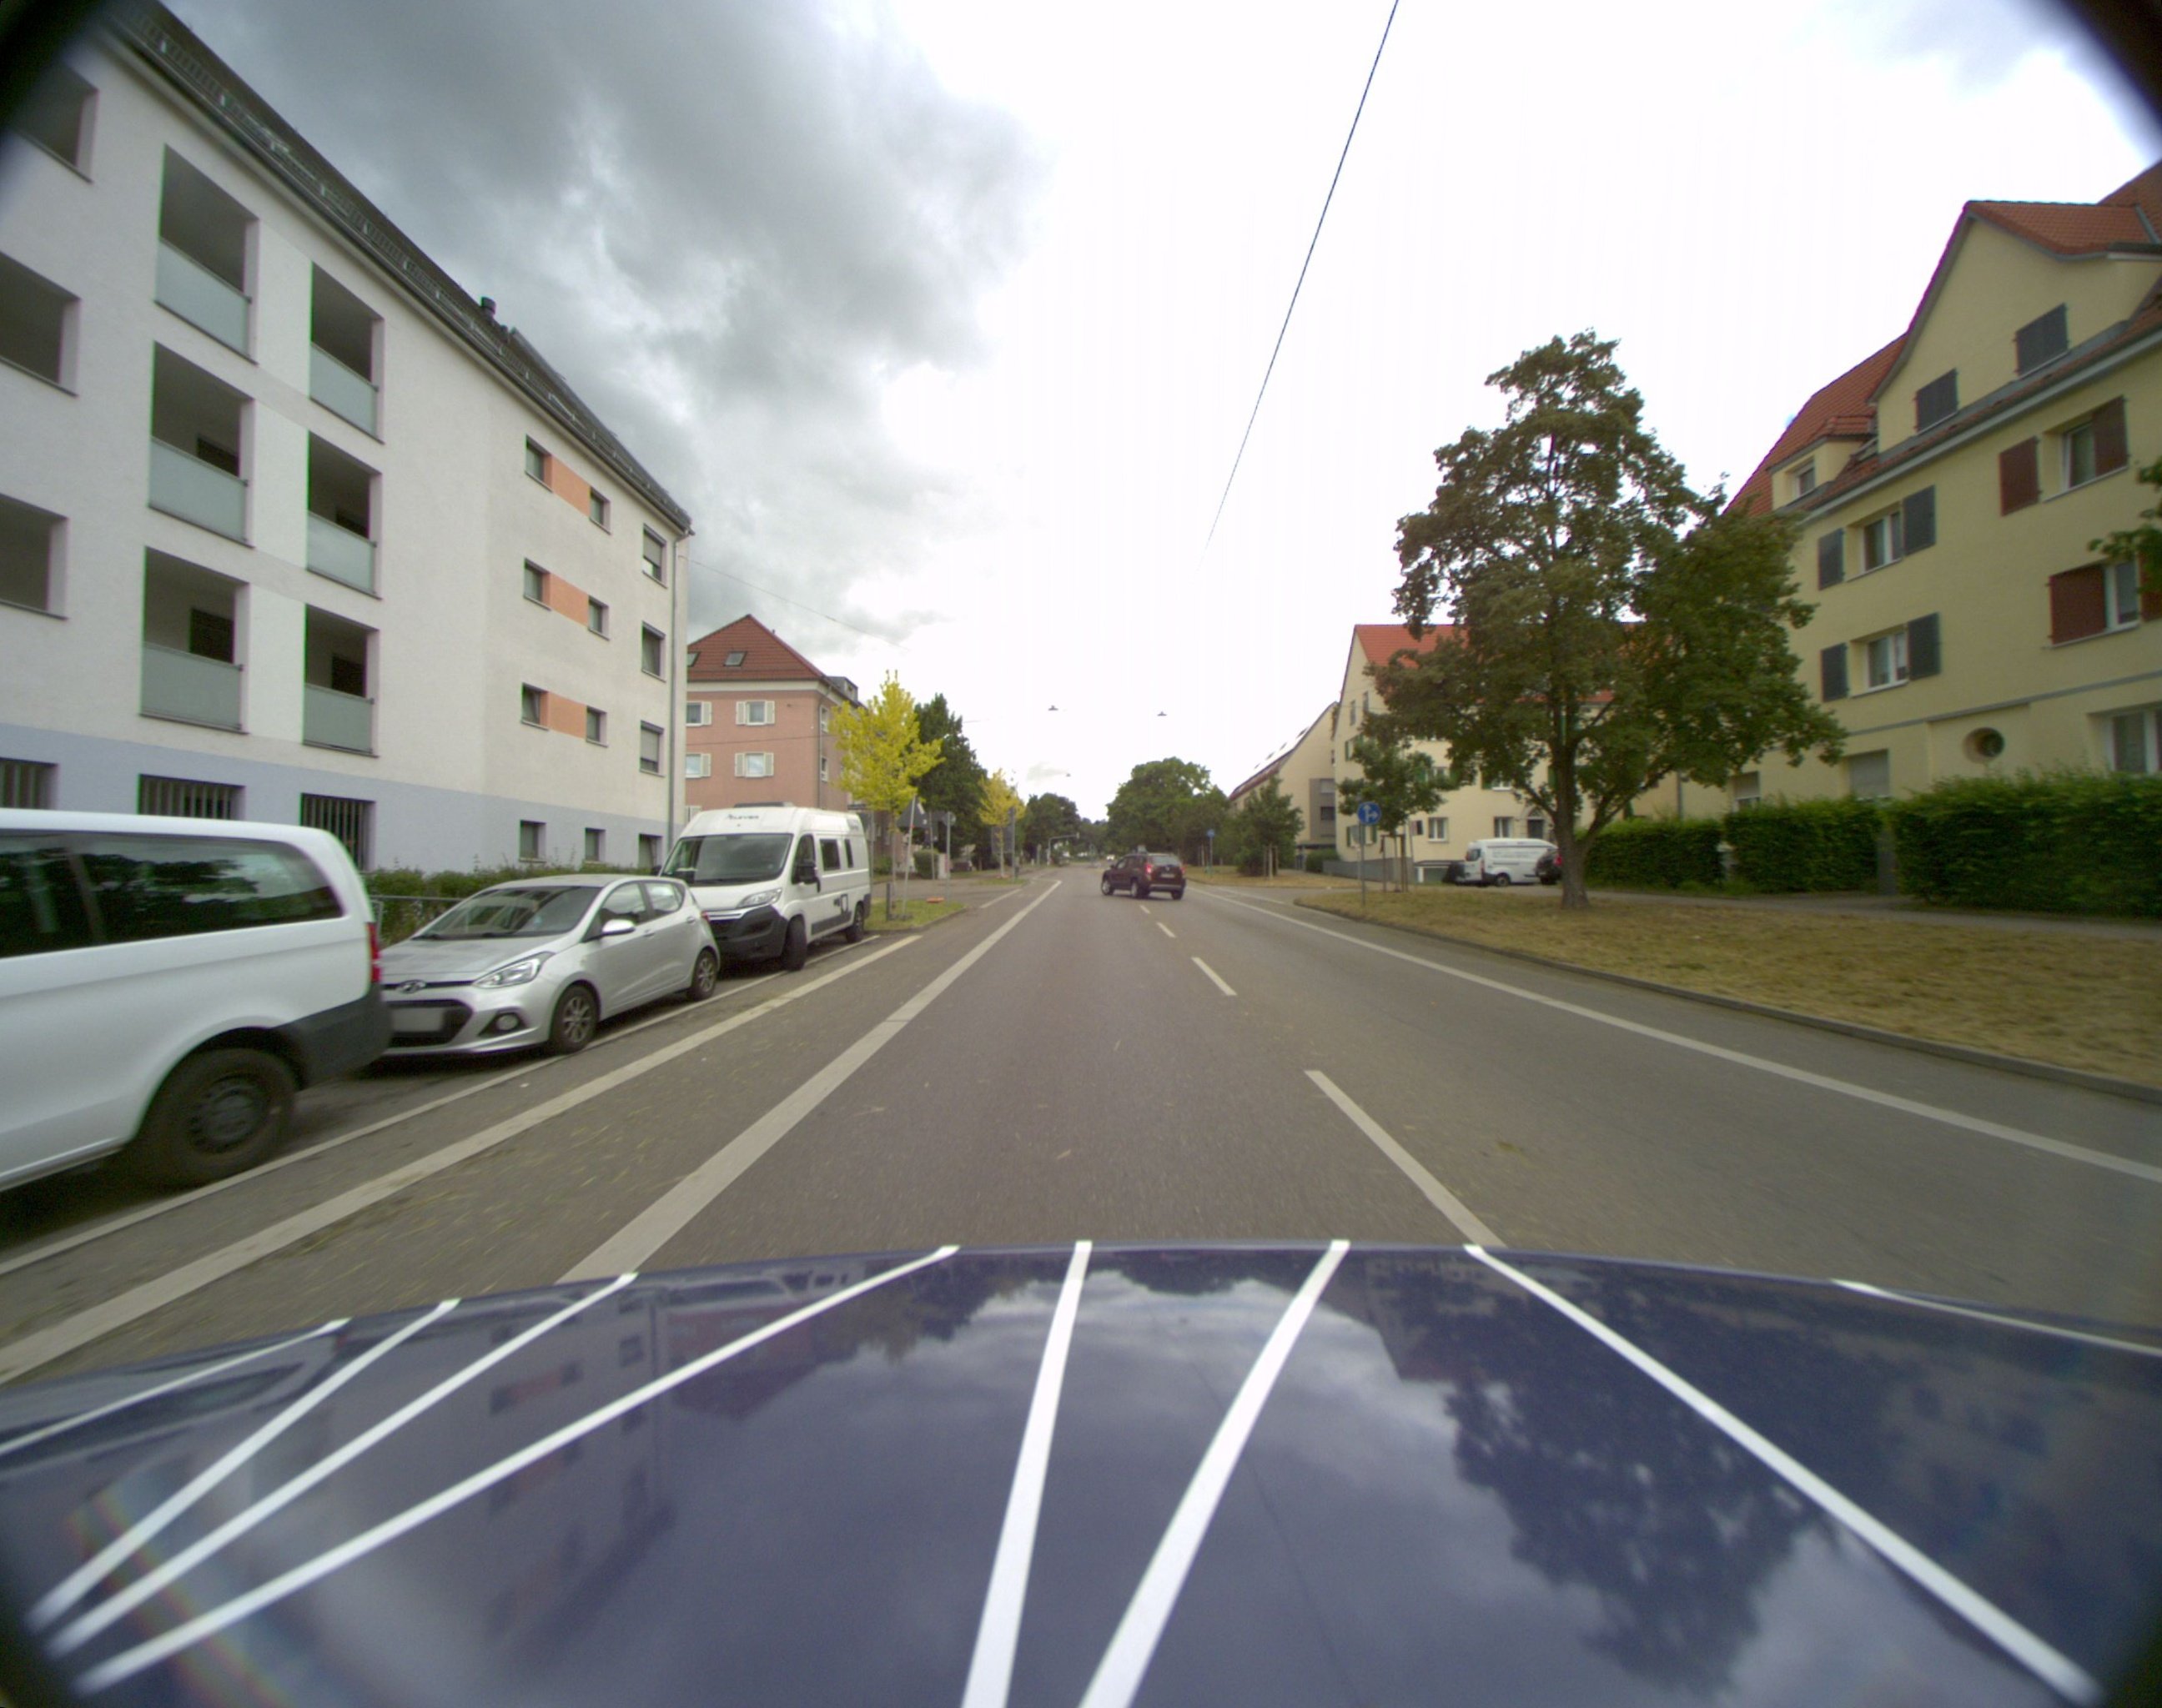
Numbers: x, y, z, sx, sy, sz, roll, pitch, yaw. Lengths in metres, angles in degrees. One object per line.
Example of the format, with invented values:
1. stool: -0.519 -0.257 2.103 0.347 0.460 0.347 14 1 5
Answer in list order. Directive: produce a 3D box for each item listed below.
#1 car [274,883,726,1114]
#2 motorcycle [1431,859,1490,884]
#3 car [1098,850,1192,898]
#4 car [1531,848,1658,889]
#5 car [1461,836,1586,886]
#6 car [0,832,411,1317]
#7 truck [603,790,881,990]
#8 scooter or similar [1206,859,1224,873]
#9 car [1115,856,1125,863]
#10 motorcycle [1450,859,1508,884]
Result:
1. car: -5.041 1.105 7.327 1.529 1.477 3.725 -2 0 -2
2. motorcycle: 19.565 0.880 39.172 2.598 1.271 1.019 0 1 34
3. car: 2.244 0.687 27.944 1.907 1.610 4.354 -1 0 -18
4. car: 20.611 0.594 30.615 3.914 1.520 1.692 -1 -3 0
5. car: 20.736 0.329 35.760 4.729 2.240 1.995 0 0 1
6. car: -5.322 0.890 2.254 1.998 1.932 5.211 -1 0 0
7. truck: -5.124 0.477 12.670 2.058 2.550 5.689 -1 0 0
8. scooter or similar: 10.820 0.951 61.252 1.374 1.080 0.466 0 0 -4
9. car: 9.007 1.261 175.020 1.997 1.674 4.002 -1 0 6
10. motorcycle: 20.845 0.898 39.790 2.599 1.271 1.019 -1 0 34
